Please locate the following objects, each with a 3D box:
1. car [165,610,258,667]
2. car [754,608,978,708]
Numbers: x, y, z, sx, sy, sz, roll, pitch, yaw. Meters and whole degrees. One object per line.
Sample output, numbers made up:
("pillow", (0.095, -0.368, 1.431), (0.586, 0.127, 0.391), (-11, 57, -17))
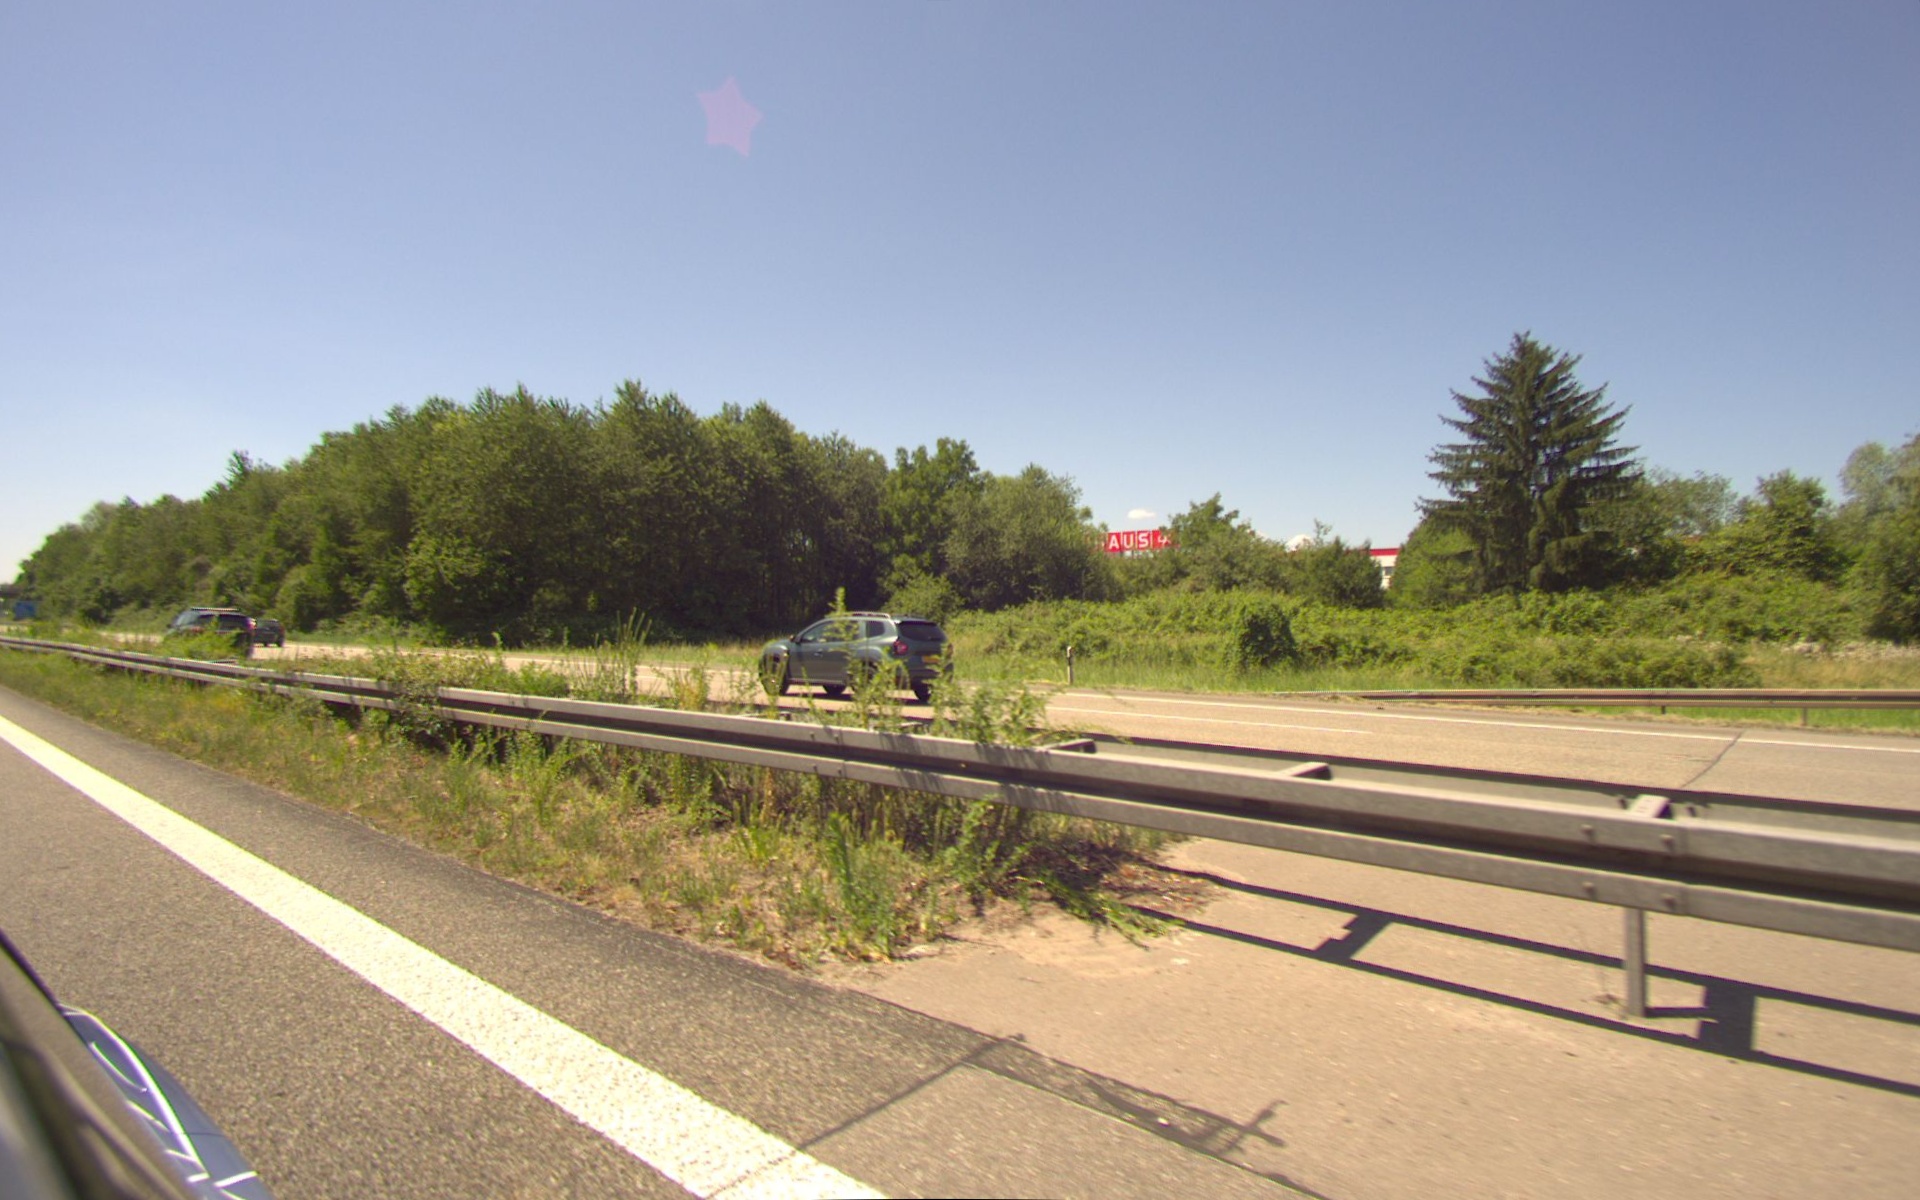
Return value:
("car", (-25.225, 1.251, 34.082), (3.511, 1.795, 1.821), (-1, 0, 41))
("car", (-1.855, 1.040, 19.179), (4.184, 1.685, 1.826), (-1, -3, 41))
